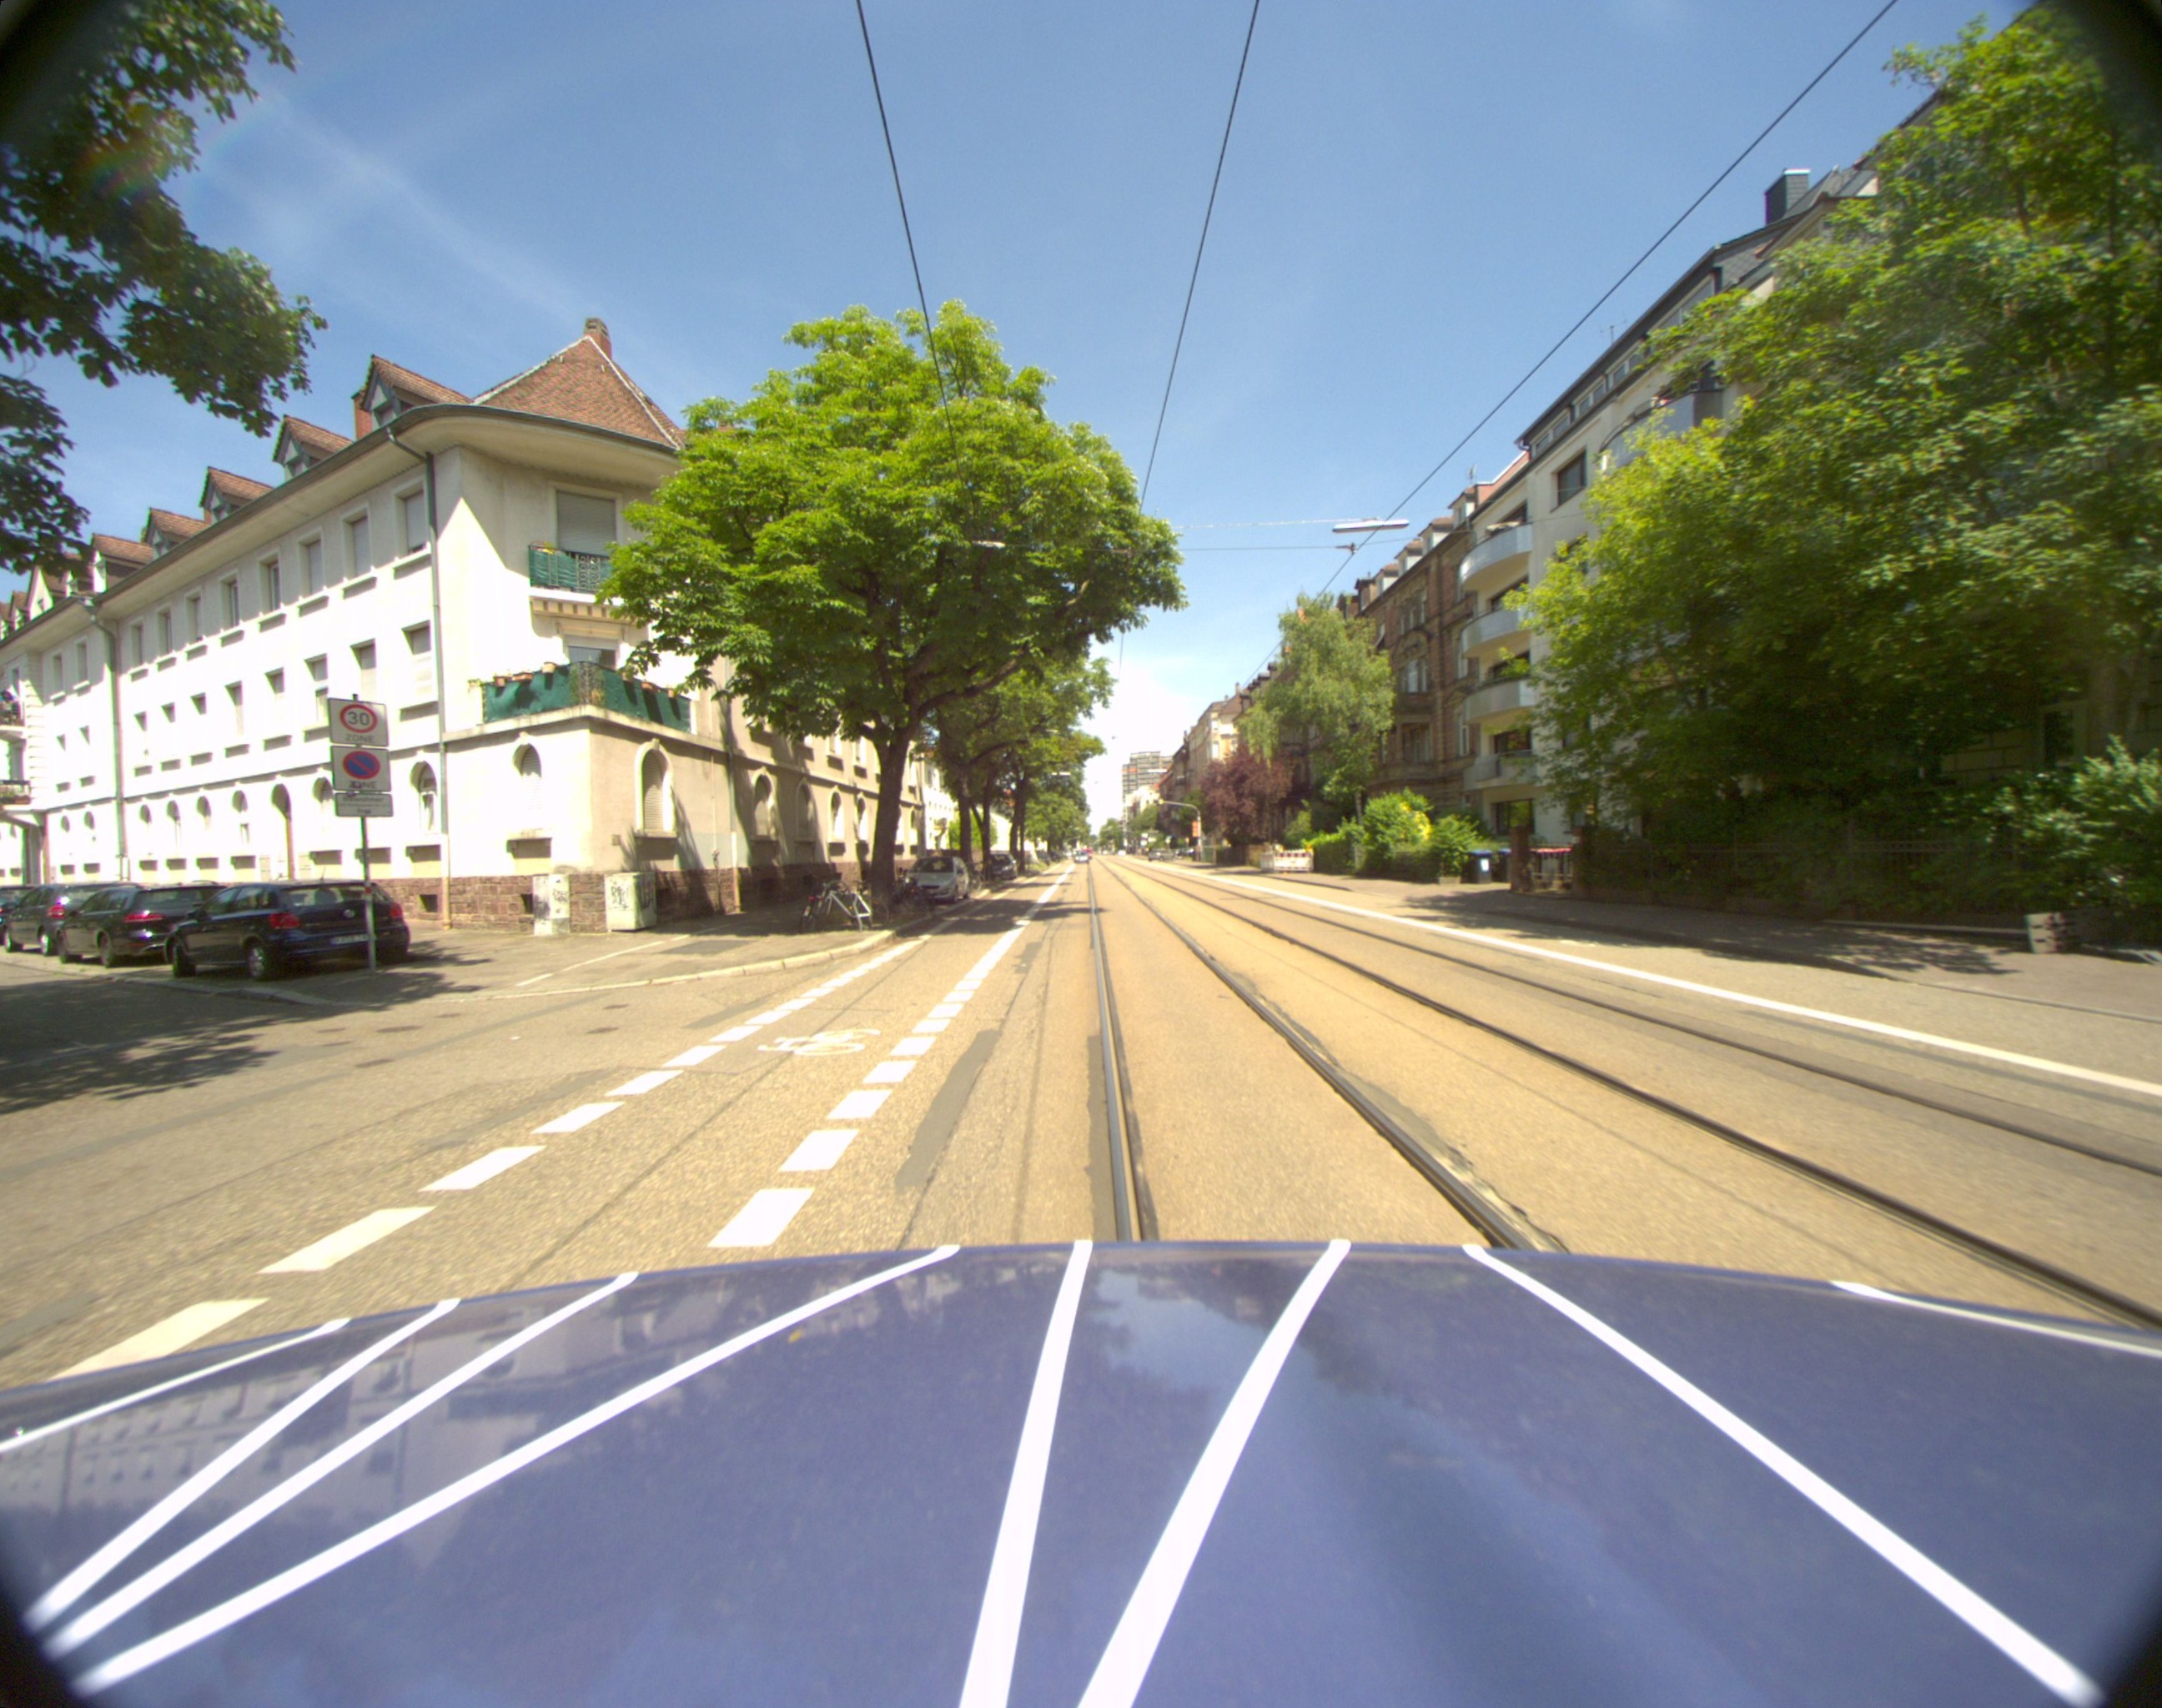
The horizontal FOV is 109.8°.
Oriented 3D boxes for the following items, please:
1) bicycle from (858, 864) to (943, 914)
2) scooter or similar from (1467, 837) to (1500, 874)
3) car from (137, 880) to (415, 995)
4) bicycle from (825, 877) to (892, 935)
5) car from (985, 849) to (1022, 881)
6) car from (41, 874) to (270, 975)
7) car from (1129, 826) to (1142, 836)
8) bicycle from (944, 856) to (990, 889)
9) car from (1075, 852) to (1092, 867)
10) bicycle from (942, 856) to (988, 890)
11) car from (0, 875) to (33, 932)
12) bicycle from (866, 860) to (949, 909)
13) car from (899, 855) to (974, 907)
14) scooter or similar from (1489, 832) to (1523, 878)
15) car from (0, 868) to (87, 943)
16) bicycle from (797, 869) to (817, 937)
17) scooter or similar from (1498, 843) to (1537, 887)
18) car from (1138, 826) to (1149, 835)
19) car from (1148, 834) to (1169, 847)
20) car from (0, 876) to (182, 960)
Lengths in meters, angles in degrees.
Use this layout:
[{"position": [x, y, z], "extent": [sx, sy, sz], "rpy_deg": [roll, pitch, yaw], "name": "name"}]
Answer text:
[{"position": [-4.574, 0.895, 19.281], "extent": [2.037, 1.194, 0.445], "rpy_deg": [-2, 3, 10], "name": "bicycle"}, {"position": [12.610, 0.041, 23.820], "extent": [0.617, 1.151, 0.694], "rpy_deg": [-2, 1, -9], "name": "scooter or similar"}, {"position": [-12.600, 1.199, 11.898], "extent": [3.874, 1.439, 1.648], "rpy_deg": [-1, 3, 23], "name": "car"}, {"position": [-4.270, 1.001, 14.601], "extent": [1.169, 1.057, 0.280], "rpy_deg": [-2, 3, 3], "name": "bicycle"}, {"position": [-4.282, 0.563, 42.446], "extent": [1.539, 1.536, 3.999], "rpy_deg": [-2, 2, 1], "name": "car"}, {"position": [-17.455, 1.230, 14.319], "extent": [3.990, 1.495, 1.823], "rpy_deg": [-1, 5, 28], "name": "car"}, {"position": [10.166, -4.341, 142.173], "extent": [1.998, 1.717, 3.870], "rpy_deg": [-2, 2, 1], "name": "car"}, {"position": [-4.308, 0.695, 28.691], "extent": [1.623, 1.194, 0.305], "rpy_deg": [-2, 3, 2], "name": "bicycle"}, {"position": [0.310, 0.636, 88.501], "extent": [1.893, 1.561, 4.035], "rpy_deg": [-2, 2, 1], "name": "car"}, {"position": [-4.321, 0.709, 28.351], "extent": [1.623, 1.194, 0.305], "rpy_deg": [-2, 3, 2], "name": "bicycle"}, {"position": [-34.216, 1.550, 23.138], "extent": [3.990, 1.649, 1.836], "rpy_deg": [-1, 3, 25], "name": "car"}, {"position": [-4.522, 0.802, 19.784], "extent": [2.037, 1.194, 0.445], "rpy_deg": [-2, 3, 10], "name": "bicycle"}, {"position": [-4.490, 0.785, 24.070], "extent": [1.596, 1.444, 3.631], "rpy_deg": [0, 1, 1], "name": "car"}, {"position": [13.312, 0.023, 23.786], "extent": [0.617, 1.391, 0.694], "rpy_deg": [-2, 1, -9], "name": "scooter or similar"}, {"position": [-27.609, 1.298, 19.585], "extent": [3.990, 1.720, 1.655], "rpy_deg": [-1, 3, 28], "name": "car"}, {"position": [-5.320, 0.919, 14.806], "extent": [0.284, 1.194, 1.625], "rpy_deg": [-3, 2, -19], "name": "bicycle"}, {"position": [11.661, 0.279, 20.306], "extent": [0.616, 1.151, 0.695], "rpy_deg": [-2, 1, -2], "name": "scooter or similar"}, {"position": [10.077, -3.838, 123.052], "extent": [1.493, 1.372, 3.629], "rpy_deg": [-2, 2, 1], "name": "car"}, {"position": [9.181, -1.616, 90.100], "extent": [1.998, 1.468, 3.998], "rpy_deg": [-2, 2, 1], "name": "car"}, {"position": [-22.490, 1.363, 17.183], "extent": [3.990, 1.571, 1.872], "rpy_deg": [-1, 3, 28], "name": "car"}]
